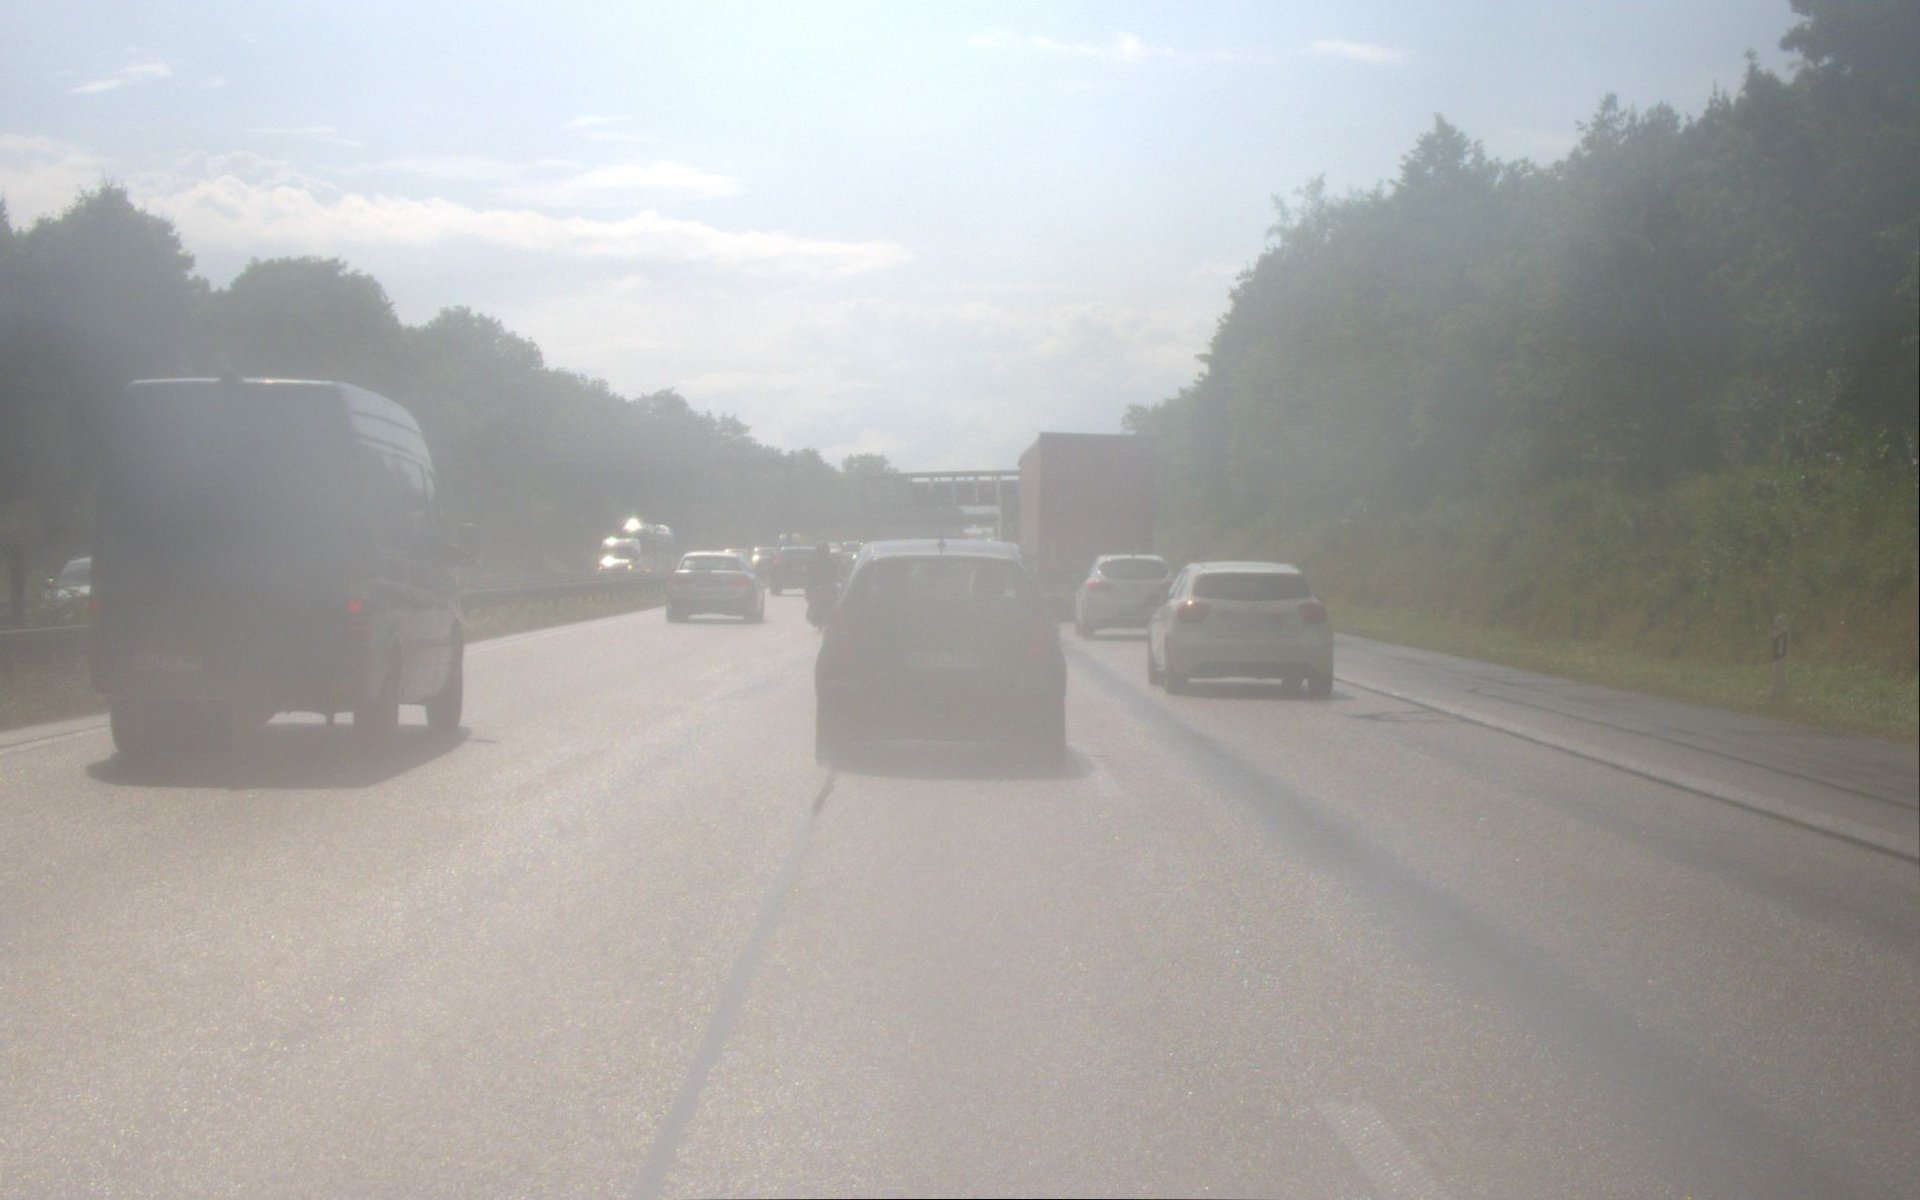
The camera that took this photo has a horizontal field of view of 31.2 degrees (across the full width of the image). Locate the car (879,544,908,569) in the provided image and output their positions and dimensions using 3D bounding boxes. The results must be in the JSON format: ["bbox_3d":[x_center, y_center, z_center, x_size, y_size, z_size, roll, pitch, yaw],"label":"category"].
[{"bbox_3d":[-4.601,-2.992,237.703,1.993,1.695,4.000,0,1,-1],"label":"car"}]

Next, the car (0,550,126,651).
[{"bbox_3d":[-15.733,-0.014,59.262,1.731,1.657,4.236,1,1,-1],"label":"car"}]

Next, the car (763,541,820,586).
[{"bbox_3d":[-5.632,-1.219,115.197,1.751,1.452,3.390,1,1,-1],"label":"car"}]

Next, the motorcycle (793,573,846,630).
[{"bbox_3d":[-2.553,0.021,62.743,0.890,0.997,2.896,1,1,-1],"label":"motorcycle"}]

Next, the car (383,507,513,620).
[{"bbox_3d":[-11.630,-0.834,78.430,2.183,2.444,5.748,1,1,-1],"label":"car"}]

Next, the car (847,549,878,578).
[{"bbox_3d":[-4.839,-1.828,170.714,1.485,1.385,3.199,1,1,-1],"label":"car"}]

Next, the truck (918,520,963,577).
[{"bbox_3d":[-1.035,-2.618,175.801,2.192,2.865,4.850,1,1,-1],"label":"truck"}]

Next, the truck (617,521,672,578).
[{"bbox_3d":[-21.833,-3.499,237.895,2.990,3.818,6.864,1,1,1],"label":"truck"}]

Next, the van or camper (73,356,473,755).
[{"bbox_3d":[-5.016,-0.331,25.900,1.993,2.659,5.385,1,1,-1],"label":"van or camper"}]

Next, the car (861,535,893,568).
[{"bbox_3d":[-5.193,-3.058,215.372,1.993,2.007,4.000,0,1,-1],"label":"car"}]

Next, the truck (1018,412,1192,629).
[{"bbox_3d":[3.316,-1.839,83.770,3.650,4.704,16.779,1,1,1],"label":"truck"}]

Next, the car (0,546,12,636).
[{"bbox_3d":[-18.638,-0.155,61.674,2.016,1.657,4.699,1,1,-1],"label":"car"}]

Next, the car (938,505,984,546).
[{"bbox_3d":[0.020,-2.600,120.930,1.552,1.378,3.210,1,1,-1],"label":"car"}]

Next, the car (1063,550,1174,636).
[{"bbox_3d":[2.779,-0.142,60.895,1.680,1.437,3.905,1,1,-1],"label":"car"}]

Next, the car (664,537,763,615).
[{"bbox_3d":[-5.107,-0.508,71.561,1.854,1.546,3.485,1,1,-1],"label":"car"}]

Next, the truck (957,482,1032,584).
[{"bbox_3d":[1.610,-3.059,159.580,3.256,4.464,12.421,1,1,1],"label":"truck"}]

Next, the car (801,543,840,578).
[{"bbox_3d":[-5.602,-1.599,138.363,1.460,1.389,3.312,1,1,-1],"label":"car"}]

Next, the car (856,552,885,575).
[{"bbox_3d":[-5.037,-2.042,193.588,1.549,1.262,3.485,1,1,-1],"label":"car"}]

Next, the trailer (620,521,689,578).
[{"bbox_3d":[-21.751,-3.590,246.118,2.990,3.818,17.952,1,1,1],"label":"trailer"}]

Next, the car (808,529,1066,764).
[{"bbox_3d":[-0.188,0.293,25.013,1.717,1.562,3.485,1,1,-1],"label":"car"}]

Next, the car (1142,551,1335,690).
[{"bbox_3d":[3.019,0.188,38.038,1.692,1.420,4.220,1,1,-1],"label":"car"}]

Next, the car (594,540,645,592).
[{"bbox_3d":[-19.084,-1.912,192.908,2.262,2.860,6.932,1,1,-1],"label":"car"}]

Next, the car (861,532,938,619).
[{"bbox_3d":[-1.264,-0.510,71.244,1.531,1.740,3.485,1,1,-1],"label":"car"}]

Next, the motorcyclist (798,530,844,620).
[{"bbox_3d":[-2.529,-0.460,62.694,0.801,1.627,1.013,1,1,-1],"label":"motorcyclist"}]
